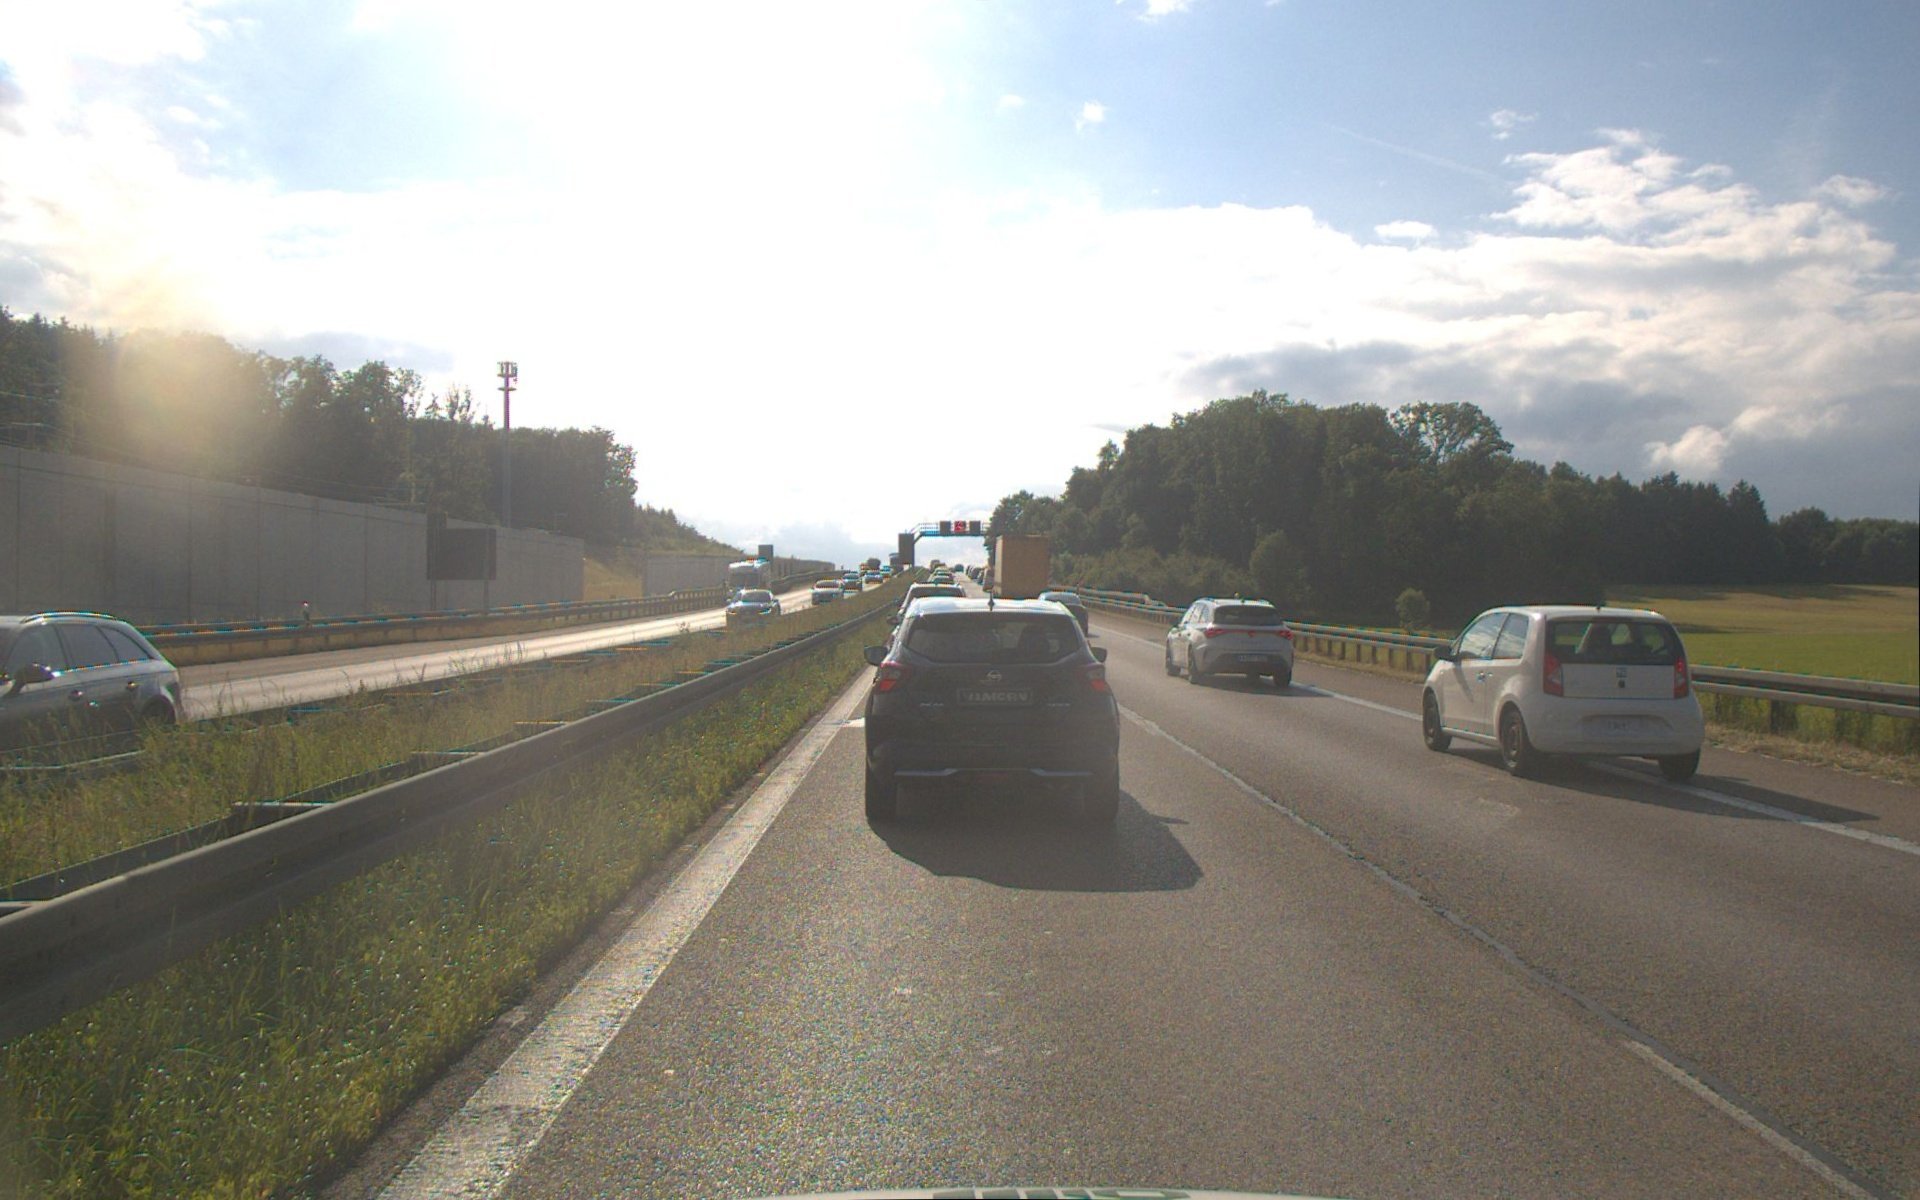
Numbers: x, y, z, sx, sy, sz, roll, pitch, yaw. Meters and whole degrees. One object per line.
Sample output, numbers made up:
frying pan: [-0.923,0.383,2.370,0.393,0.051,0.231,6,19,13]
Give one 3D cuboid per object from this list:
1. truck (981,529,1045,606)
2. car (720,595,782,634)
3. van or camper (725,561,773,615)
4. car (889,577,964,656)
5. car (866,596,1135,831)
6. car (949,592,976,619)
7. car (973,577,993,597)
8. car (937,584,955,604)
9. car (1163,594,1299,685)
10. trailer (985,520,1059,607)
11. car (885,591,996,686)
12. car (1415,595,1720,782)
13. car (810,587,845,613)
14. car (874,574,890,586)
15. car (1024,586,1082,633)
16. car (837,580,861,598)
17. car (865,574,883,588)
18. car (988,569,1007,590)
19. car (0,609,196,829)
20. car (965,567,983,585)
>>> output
truck: [3.190,-1.895,100.966,3.509,4.456,6.686,1,0,-1]
car: [-8.194,0.573,65.138,1.953,1.458,4.447,1,0,-1]
van or camper: [-12.784,-0.680,100.754,2.180,3.133,6.511,1,0,-1]
car: [-0.755,0.382,39.103,1.639,1.756,3.596,1,-1,0]
car: [0.284,0.728,12.102,1.675,1.451,3.378,1,-1,1]
car: [0.188,0.417,129.131,1.953,2.049,3.999,1,0,-1]
car: [2.434,-1.372,176.860,1.953,2.049,3.999,1,0,-1]
car: [-1.296,-0.585,154.879,1.633,1.785,3.327,1,0,1]
car: [4.697,0.670,29.218,1.588,1.471,4.145,1,0,-2]
trailer: [3.367,-1.930,94.299,3.477,4.535,12.719,1,0,-1]
car: [-0.278,0.587,26.490,1.639,1.391,3.596,1,0,0]
car: [5.556,0.739,15.533,1.517,1.521,3.377,1,0,-2]
car: [-8.548,-0.002,106.698,1.953,1.621,4.447,1,0,-1]
car: [-10.199,-2.666,217.272,1.953,1.458,4.447,1,0,-1]
car: [3.100,0.321,55.747,1.711,1.501,4.147,1,0,0]
car: [-9.713,-0.961,145.022,1.816,1.458,4.447,1,0,-1]
car: [-9.768,-2.178,188.109,1.953,1.458,4.447,1,0,-1]
car: [3.223,-1.782,143.801,1.633,1.785,3.327,1,0,1]
car: [-7.556,0.824,12.254,1.863,1.490,4.183,1,0,-1]
car: [1.692,-2.873,198.797,1.953,2.049,3.999,1,0,-1]
